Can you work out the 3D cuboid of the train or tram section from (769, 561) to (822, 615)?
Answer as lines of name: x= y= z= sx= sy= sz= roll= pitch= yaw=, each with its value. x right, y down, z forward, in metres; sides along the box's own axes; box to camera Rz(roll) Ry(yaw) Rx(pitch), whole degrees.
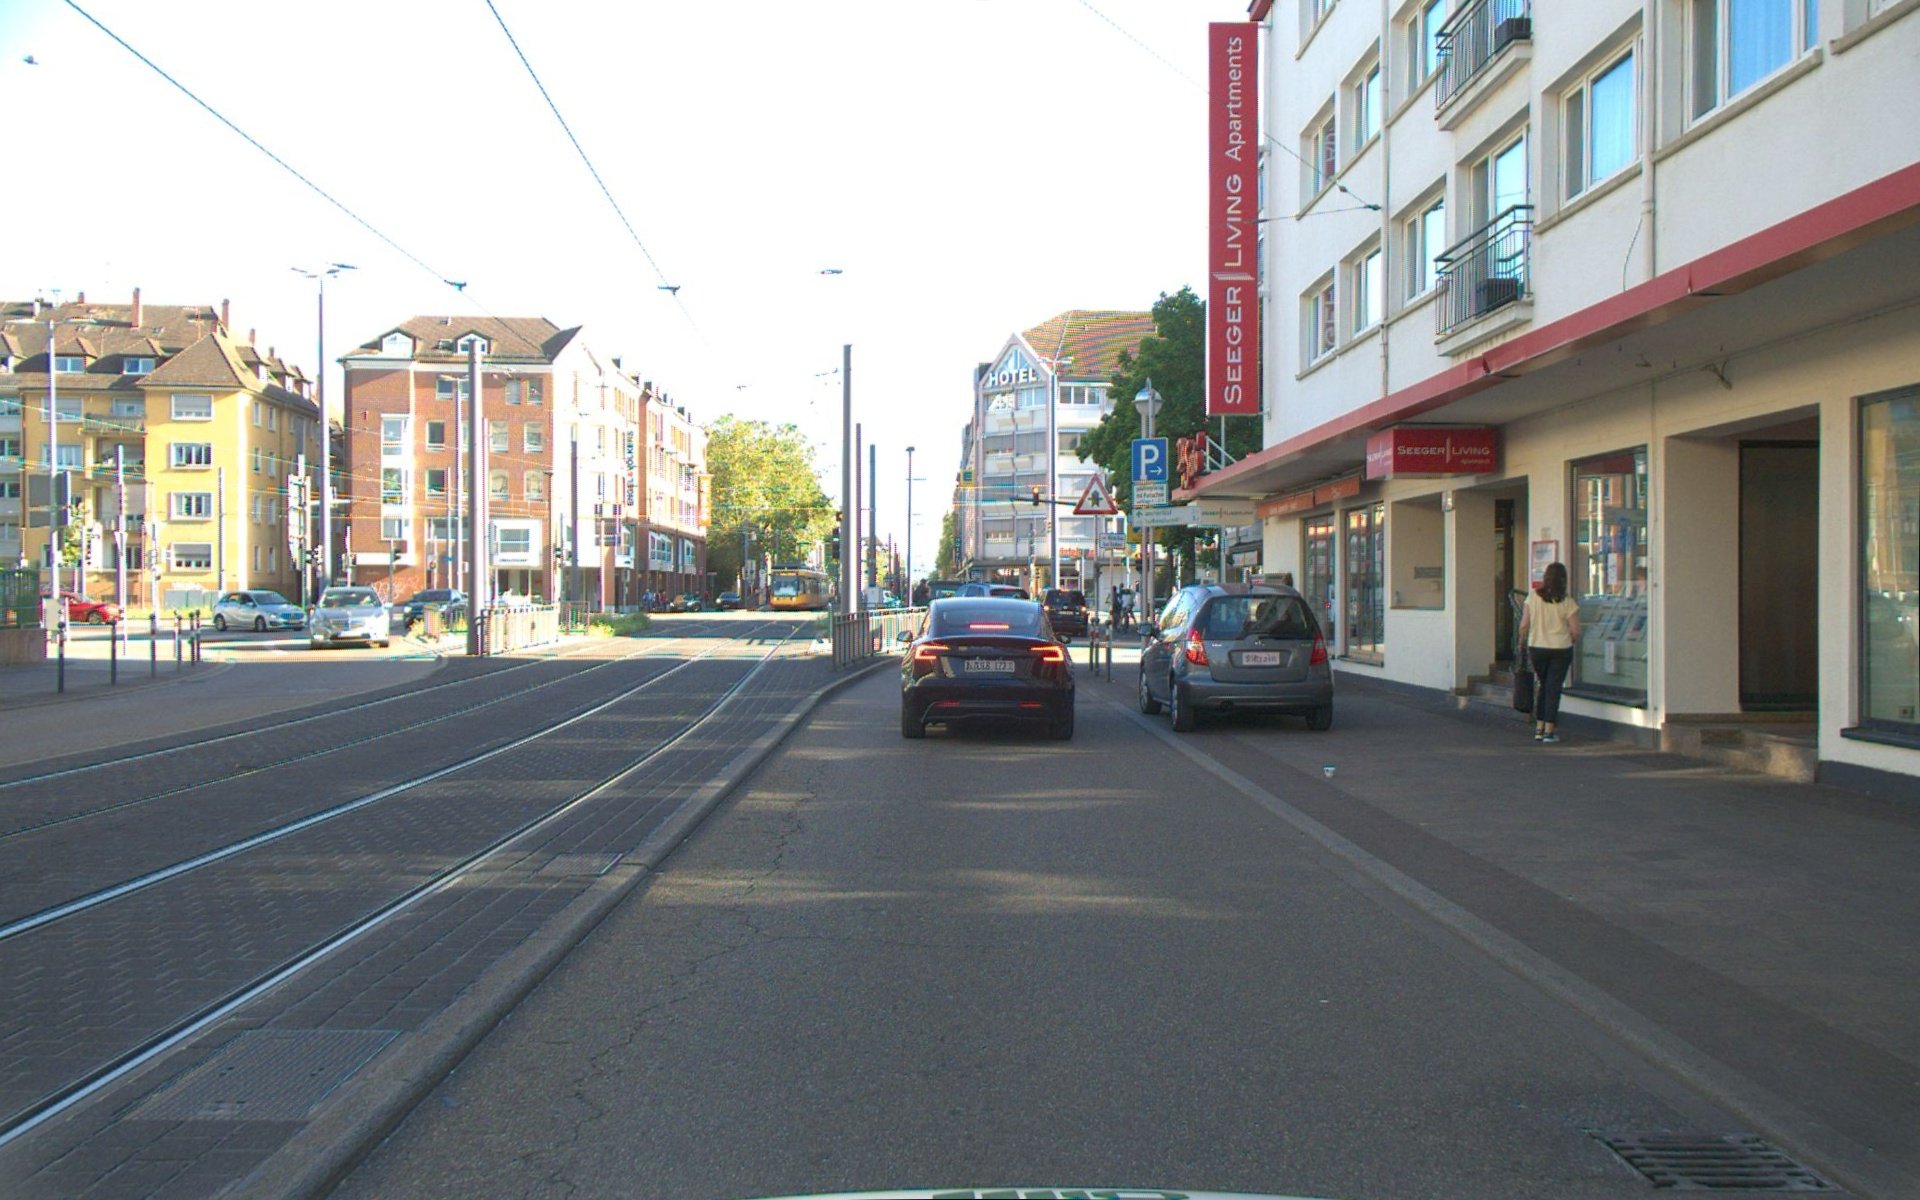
train or tram section: x=-12.409 y=-0.880 z=125.801 sx=2.620 sy=3.780 sz=14.190 roll=2 pitch=0 yaw=0

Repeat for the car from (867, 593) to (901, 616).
car: x=-5.103 y=0.314 z=111.339 sx=1.952 sy=1.445 sz=4.001 roll=2 pitch=0 yaw=2

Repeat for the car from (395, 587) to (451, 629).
car: x=-20.511 y=0.295 z=63.269 sx=1.734 sy=1.538 sz=4.264 roll=0 pitch=0 yaw=-14

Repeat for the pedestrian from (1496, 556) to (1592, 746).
pedestrian: x=5.746 y=0.487 z=16.321 sx=0.786 sy=1.805 sz=0.933 roll=0 pitch=0 yaw=13

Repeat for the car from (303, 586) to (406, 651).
car: x=-15.147 y=0.432 z=41.600 sx=1.848 sy=1.522 sz=4.913 roll=-1 pitch=0 yaw=-13

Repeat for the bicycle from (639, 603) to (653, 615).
bicycle: x=-23.538 y=0.659 z=124.049 sx=0.688 sy=0.869 sz=2.053 roll=0 pitch=0 yaw=-1

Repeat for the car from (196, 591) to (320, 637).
car: x=-27.327 y=0.541 z=64.391 sx=4.500 sy=1.583 sz=1.815 roll=2 pitch=0 yaw=23

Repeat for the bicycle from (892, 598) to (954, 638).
bicycle: x=-1.062 y=0.512 z=47.678 sx=1.696 sy=1.107 sz=0.677 roll=2 pitch=0 yaw=-9

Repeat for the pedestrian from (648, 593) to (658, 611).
pedestrian: x=-23.551 y=0.142 z=126.797 sx=0.682 sy=1.331 sz=0.564 roll=0 pitch=0 yaw=-2

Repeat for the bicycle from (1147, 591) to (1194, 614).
bicycle: x=8.669 y=0.102 z=68.074 sx=1.885 sy=0.906 sz=0.526 roll=1 pitch=0 yaw=0

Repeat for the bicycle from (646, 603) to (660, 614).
bicycle: x=-23.555 y=0.651 z=126.825 sx=0.688 sy=0.869 sz=2.053 roll=0 pitch=0 yaw=-1

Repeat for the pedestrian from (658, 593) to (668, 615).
pedestrian: x=-23.470 y=0.300 z=130.722 sx=0.698 sy=1.696 sz=0.563 roll=2 pitch=0 yaw=-10

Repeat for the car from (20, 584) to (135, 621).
car: x=-39.197 y=0.108 z=73.536 sx=4.070 sy=1.516 sz=1.934 roll=1 pitch=0 yaw=-10

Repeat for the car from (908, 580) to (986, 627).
car: x=-0.498 y=0.113 z=58.087 sx=1.793 sy=1.545 sz=4.203 roll=2 pitch=0 yaw=-13

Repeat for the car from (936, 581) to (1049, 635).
car: x=0.940 y=0.216 z=50.681 sx=1.761 sy=1.545 sz=4.184 roll=2 pitch=0 yaw=-25

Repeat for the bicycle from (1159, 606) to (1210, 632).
bicycle: x=8.624 y=0.736 z=63.599 sx=1.885 sy=0.967 sz=0.526 roll=1 pitch=0 yaw=0

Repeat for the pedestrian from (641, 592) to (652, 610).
pedestrian: x=-23.521 y=0.078 z=124.097 sx=0.696 sy=1.365 sz=0.666 roll=0 pitch=0 yaw=-1

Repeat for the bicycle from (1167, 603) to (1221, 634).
bicycle: x=8.586 y=0.669 z=60.711 sx=1.885 sy=1.116 sz=0.555 roll=1 pitch=0 yaw=0

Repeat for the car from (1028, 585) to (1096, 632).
car: x=3.574 y=0.298 z=58.465 sx=1.789 sy=1.545 sz=3.645 roll=2 pitch=0 yaw=-6

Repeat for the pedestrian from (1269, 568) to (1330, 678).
pedestrian: x=5.460 y=0.366 z=26.590 sx=0.800 sy=1.712 sz=0.714 roll=2 pitch=0 yaw=22

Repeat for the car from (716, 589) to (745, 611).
car: x=-18.292 y=-0.025 z=132.153 sx=1.715 sy=1.680 sz=3.999 roll=2 pitch=0 yaw=0

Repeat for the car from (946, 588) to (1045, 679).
car: x=0.591 y=0.548 z=29.710 sx=1.620 sy=1.443 sz=4.000 roll=2 pitch=1 yaw=0

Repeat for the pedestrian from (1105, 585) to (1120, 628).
pedestrian: x=6.144 y=0.246 z=66.729 sx=0.550 sy=1.712 sz=0.750 roll=1 pitch=0 yaw=4

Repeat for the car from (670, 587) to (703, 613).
car: x=-21.310 y=-0.014 z=128.881 sx=1.953 sy=2.049 sz=4.000 roll=0 pitch=0 yaw=-1

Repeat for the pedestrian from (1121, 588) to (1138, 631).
pedestrian: x=6.593 y=0.354 z=64.411 sx=0.616 sy=1.642 sz=0.643 roll=1 pitch=0 yaw=3

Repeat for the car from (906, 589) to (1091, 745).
car: x=0.322 y=0.668 z=18.286 sx=1.812 sy=1.510 sz=3.785 roll=1 pitch=0 yaw=-2

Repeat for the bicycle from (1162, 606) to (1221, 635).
bicycle: x=8.207 y=0.716 z=58.644 sx=2.009 sy=0.999 sz=0.483 roll=1 pitch=0 yaw=0

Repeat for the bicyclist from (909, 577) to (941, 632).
bicyclist: x=-1.010 y=0.131 z=47.691 sx=0.821 sy=1.526 sz=0.559 roll=2 pitch=0 yaw=-9

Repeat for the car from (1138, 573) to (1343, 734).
car: x=3.147 y=0.544 z=19.224 sx=1.709 sy=1.660 sz=3.648 roll=-1 pitch=1 yaw=-1
